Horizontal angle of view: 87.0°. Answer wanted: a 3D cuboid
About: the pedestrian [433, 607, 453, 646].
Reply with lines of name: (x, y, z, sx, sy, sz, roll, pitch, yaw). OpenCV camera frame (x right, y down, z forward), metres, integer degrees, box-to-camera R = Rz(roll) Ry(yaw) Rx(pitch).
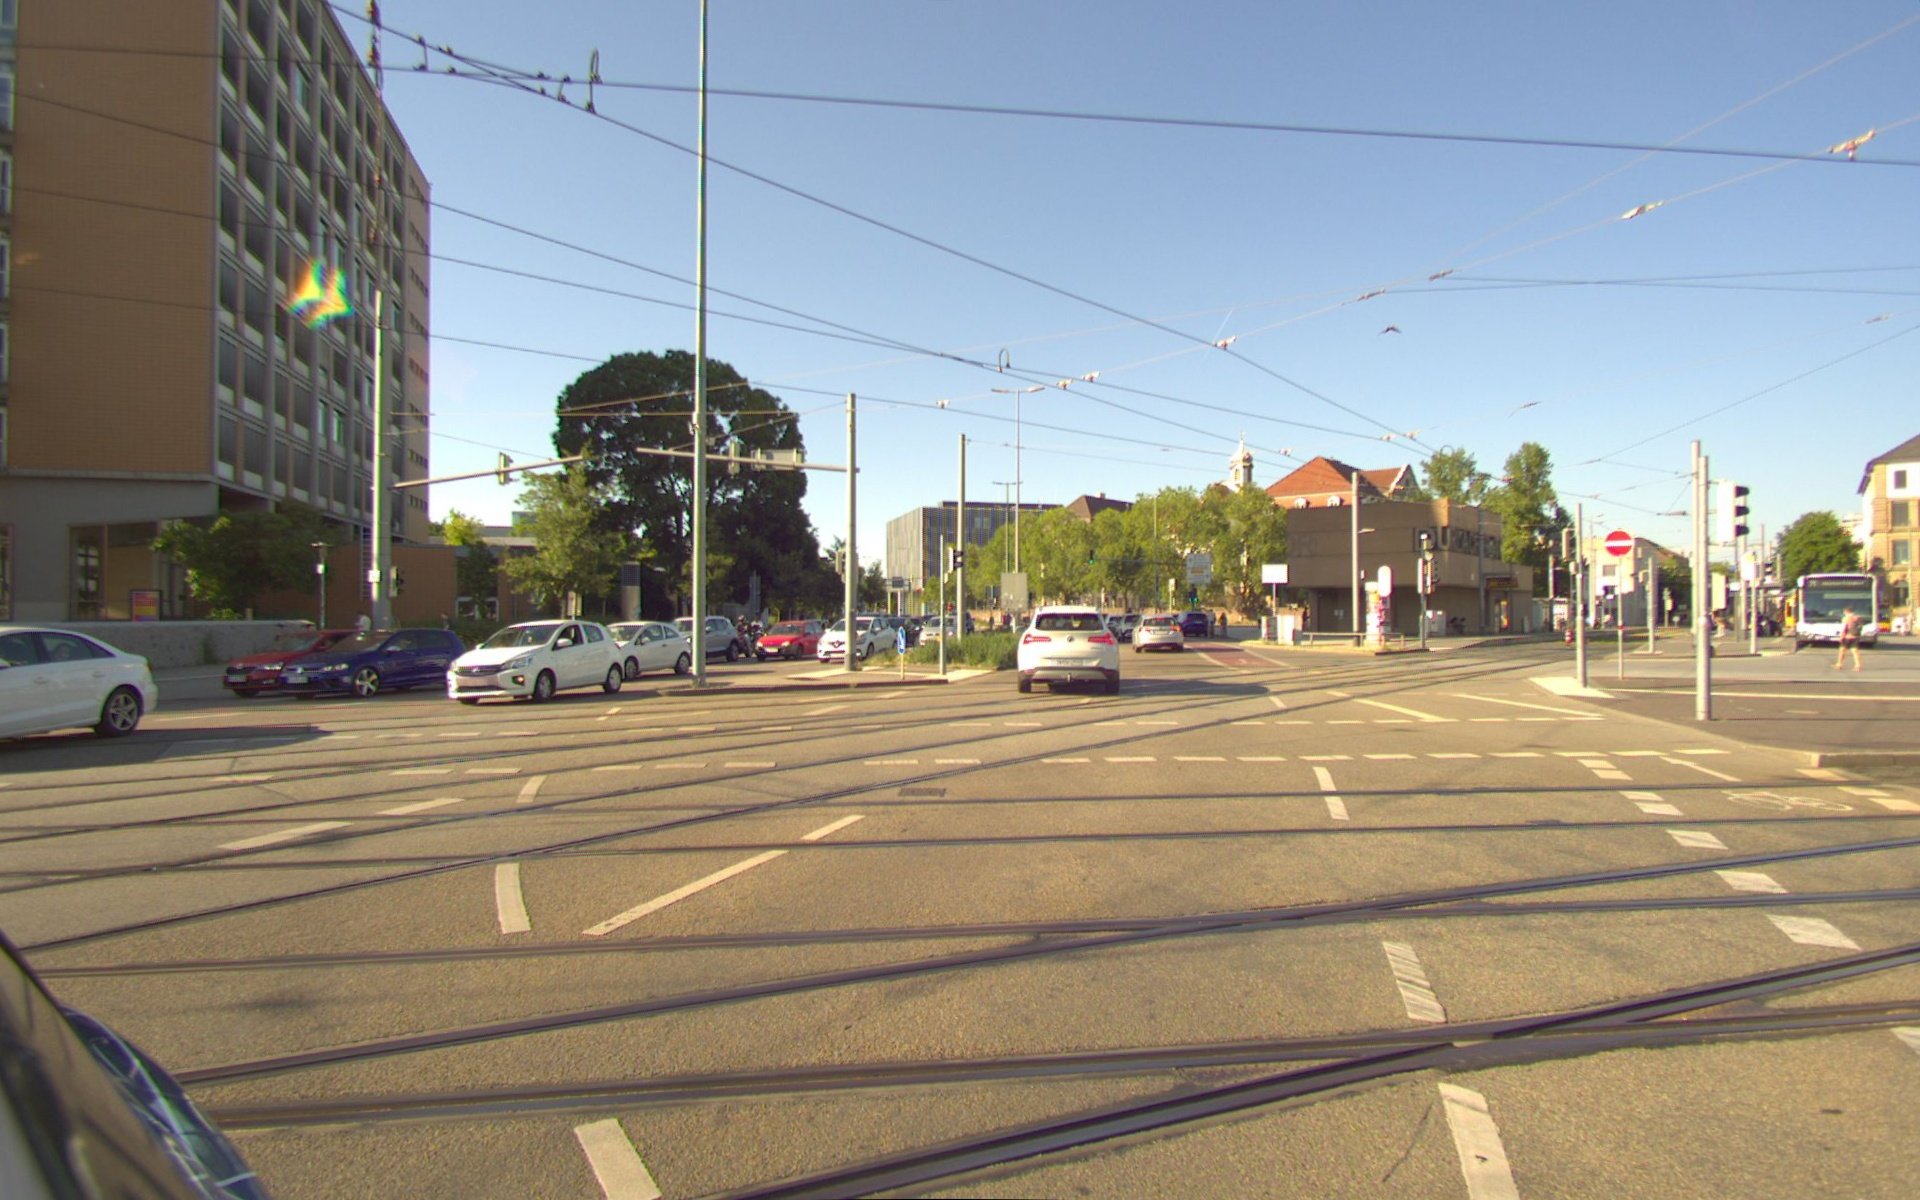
pedestrian: (-22.431, 1.143, 43.906, 0.566, 1.648, 0.503, -3, -2, 5)

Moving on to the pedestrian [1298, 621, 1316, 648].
pedestrian: (23.079, 2.290, 67.264, 0.803, 1.782, 0.961, -4, -3, 37)

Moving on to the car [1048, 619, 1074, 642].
car: (7.915, 2.348, 79.571, 1.835, 1.642, 3.865, -4, -2, 4)

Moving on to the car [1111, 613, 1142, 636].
car: (13.089, 1.902, 79.729, 1.834, 1.642, 3.866, -4, -2, 3)

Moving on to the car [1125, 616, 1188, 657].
car: (7.627, 1.412, 39.575, 1.823, 1.434, 4.426, -3, -1, 4)

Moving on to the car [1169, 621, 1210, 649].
car: (14.608, 2.220, 64.578, 1.841, 1.642, 4.031, -4, -2, 4)

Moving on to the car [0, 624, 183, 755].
car: (-11.208, 0.972, 11.264, 1.800, 1.399, 4.459, 0, -1, -2)

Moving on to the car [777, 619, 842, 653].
car: (-8.114, 1.922, 54.948, 1.979, 1.697, 4.689, -3, -2, 12)

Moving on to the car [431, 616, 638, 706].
car: (-7.870, 1.094, 19.133, 1.704, 1.504, 3.854, -2, -2, 13)

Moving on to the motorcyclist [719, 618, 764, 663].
motorcyclist: (-8.614, 1.574, 39.886, 1.109, 1.680, 1.445, -4, -2, 18)

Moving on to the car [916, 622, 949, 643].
car: (-2.451, 2.936, 91.435, 1.978, 1.697, 4.692, -3, -2, 10)

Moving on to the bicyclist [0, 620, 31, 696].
bicyclist: (-20.922, 1.243, 21.847, 0.686, 1.599, 1.014, 3, -1, 10)

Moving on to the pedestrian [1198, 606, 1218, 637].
pedestrian: (14.754, 1.290, 60.282, 0.792, 1.782, 0.964, -3, -2, -6)

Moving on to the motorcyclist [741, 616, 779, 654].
motorcyclist: (-9.141, 1.597, 46.242, 1.109, 1.680, 1.445, -4, -2, 18)

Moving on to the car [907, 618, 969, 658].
car: (-0.938, 1.677, 45.718, 1.978, 1.689, 4.269, 0, -1, 11)

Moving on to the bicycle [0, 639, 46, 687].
bicycle: (-20.945, 1.365, 21.741, 0.704, 0.977, 1.874, 3, -1, 10)

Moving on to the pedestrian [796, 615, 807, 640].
pedestrian: (-10.995, 1.918, 70.156, 0.560, 1.674, 0.590, -3, -2, 11)

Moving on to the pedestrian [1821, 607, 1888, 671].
pedestrian: (24.411, 1.071, 27.627, 0.716, 1.699, 1.060, -2, -2, -20)

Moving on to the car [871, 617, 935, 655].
car: (-2.730, 1.722, 49.539, 1.981, 1.697, 3.982, -3, -2, 14)

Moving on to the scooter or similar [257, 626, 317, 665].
scooter or similar: (-23.622, 1.603, 35.564, 1.679, 1.256, 0.802, -2, -2, -31)

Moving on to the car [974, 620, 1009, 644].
car: (2.313, 2.273, 73.463, 1.978, 1.689, 4.269, 0, -1, 11)

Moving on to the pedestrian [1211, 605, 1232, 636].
pedestrian: (15.611, 1.250, 60.386, 0.792, 1.782, 0.974, -3, -2, -6)

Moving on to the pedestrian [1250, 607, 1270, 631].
pedestrian: (20.113, 1.278, 67.873, 0.792, 1.579, 1.181, -3, -2, -6)

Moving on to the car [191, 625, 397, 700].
car: (-15.362, 1.393, 23.632, 1.737, 1.475, 4.005, -1, 0, 11)

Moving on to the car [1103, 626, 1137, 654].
car: (10.389, 2.551, 65.920, 1.835, 1.642, 3.864, -4, -2, 5)

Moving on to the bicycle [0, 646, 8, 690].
bicycle: (-22.039, 1.504, 22.062, 0.703, 0.977, 1.878, 3, -1, 3)

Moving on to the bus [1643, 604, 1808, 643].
bus: (75.328, 2.410, 100.125, 3.195, 3.218, 12.699, -2, -2, -29)

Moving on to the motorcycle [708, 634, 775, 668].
motorcycle: (-8.583, 1.989, 39.922, 1.109, 1.204, 3.213, -4, -2, 18)

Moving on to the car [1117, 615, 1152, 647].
car: (9.478, 1.668, 55.104, 1.702, 1.643, 3.861, -2, -1, 8)

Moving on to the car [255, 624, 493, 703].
car: (-12.792, 1.333, 22.487, 1.801, 1.504, 4.630, -2, -2, 16)

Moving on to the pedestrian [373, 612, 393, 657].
pedestrian: (-21.514, 1.291, 37.733, 0.422, 1.648, 0.503, -3, -2, 4)

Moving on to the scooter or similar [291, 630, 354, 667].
scooter or similar: (-23.397, 1.790, 37.148, 1.802, 1.256, 0.800, -1, -3, -45)

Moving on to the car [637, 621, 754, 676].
car: (-9.043, 1.627, 34.927, 1.984, 1.618, 3.975, -5, -2, 19)

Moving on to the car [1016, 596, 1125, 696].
car: (2.090, 0.867, 20.297, 1.916, 1.760, 4.617, 0, -1, 3)

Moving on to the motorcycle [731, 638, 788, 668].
motorcycle: (-9.118, 2.401, 46.165, 1.109, 1.204, 3.213, -4, -2, 18)

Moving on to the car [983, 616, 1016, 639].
car: (3.308, 2.283, 83.820, 1.979, 1.697, 4.689, -3, -2, 12)

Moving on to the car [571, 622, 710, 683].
car: (-8.380, 1.332, 26.882, 1.767, 1.475, 3.898, 0, -2, 14)

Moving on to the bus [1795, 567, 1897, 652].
bus: (39.081, 0.380, 44.854, 2.840, 3.218, 12.490, -5, -3, 40)

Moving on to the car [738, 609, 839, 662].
car: (-6.013, 1.245, 36.026, 1.982, 1.697, 3.979, -3, -2, 16)

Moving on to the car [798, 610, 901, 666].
car: (-3.535, 1.203, 33.282, 1.981, 1.689, 4.262, 0, -1, 15)

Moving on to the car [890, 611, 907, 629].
car: (-10.068, 3.220, 164.855, 2.117, 2.889, 4.982, 0, -1, -12)

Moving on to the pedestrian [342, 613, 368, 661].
pedestrian: (-22.062, 1.353, 36.922, 0.484, 1.724, 0.618, -4, -3, 32)

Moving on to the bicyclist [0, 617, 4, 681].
bicyclist: (-20.105, 1.117, 20.353, 0.688, 1.599, 1.012, 3, -1, 16)

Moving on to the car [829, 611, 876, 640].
car: (-6.624, 1.561, 62.679, 1.804, 1.741, 3.986, -1, -1, 11)
